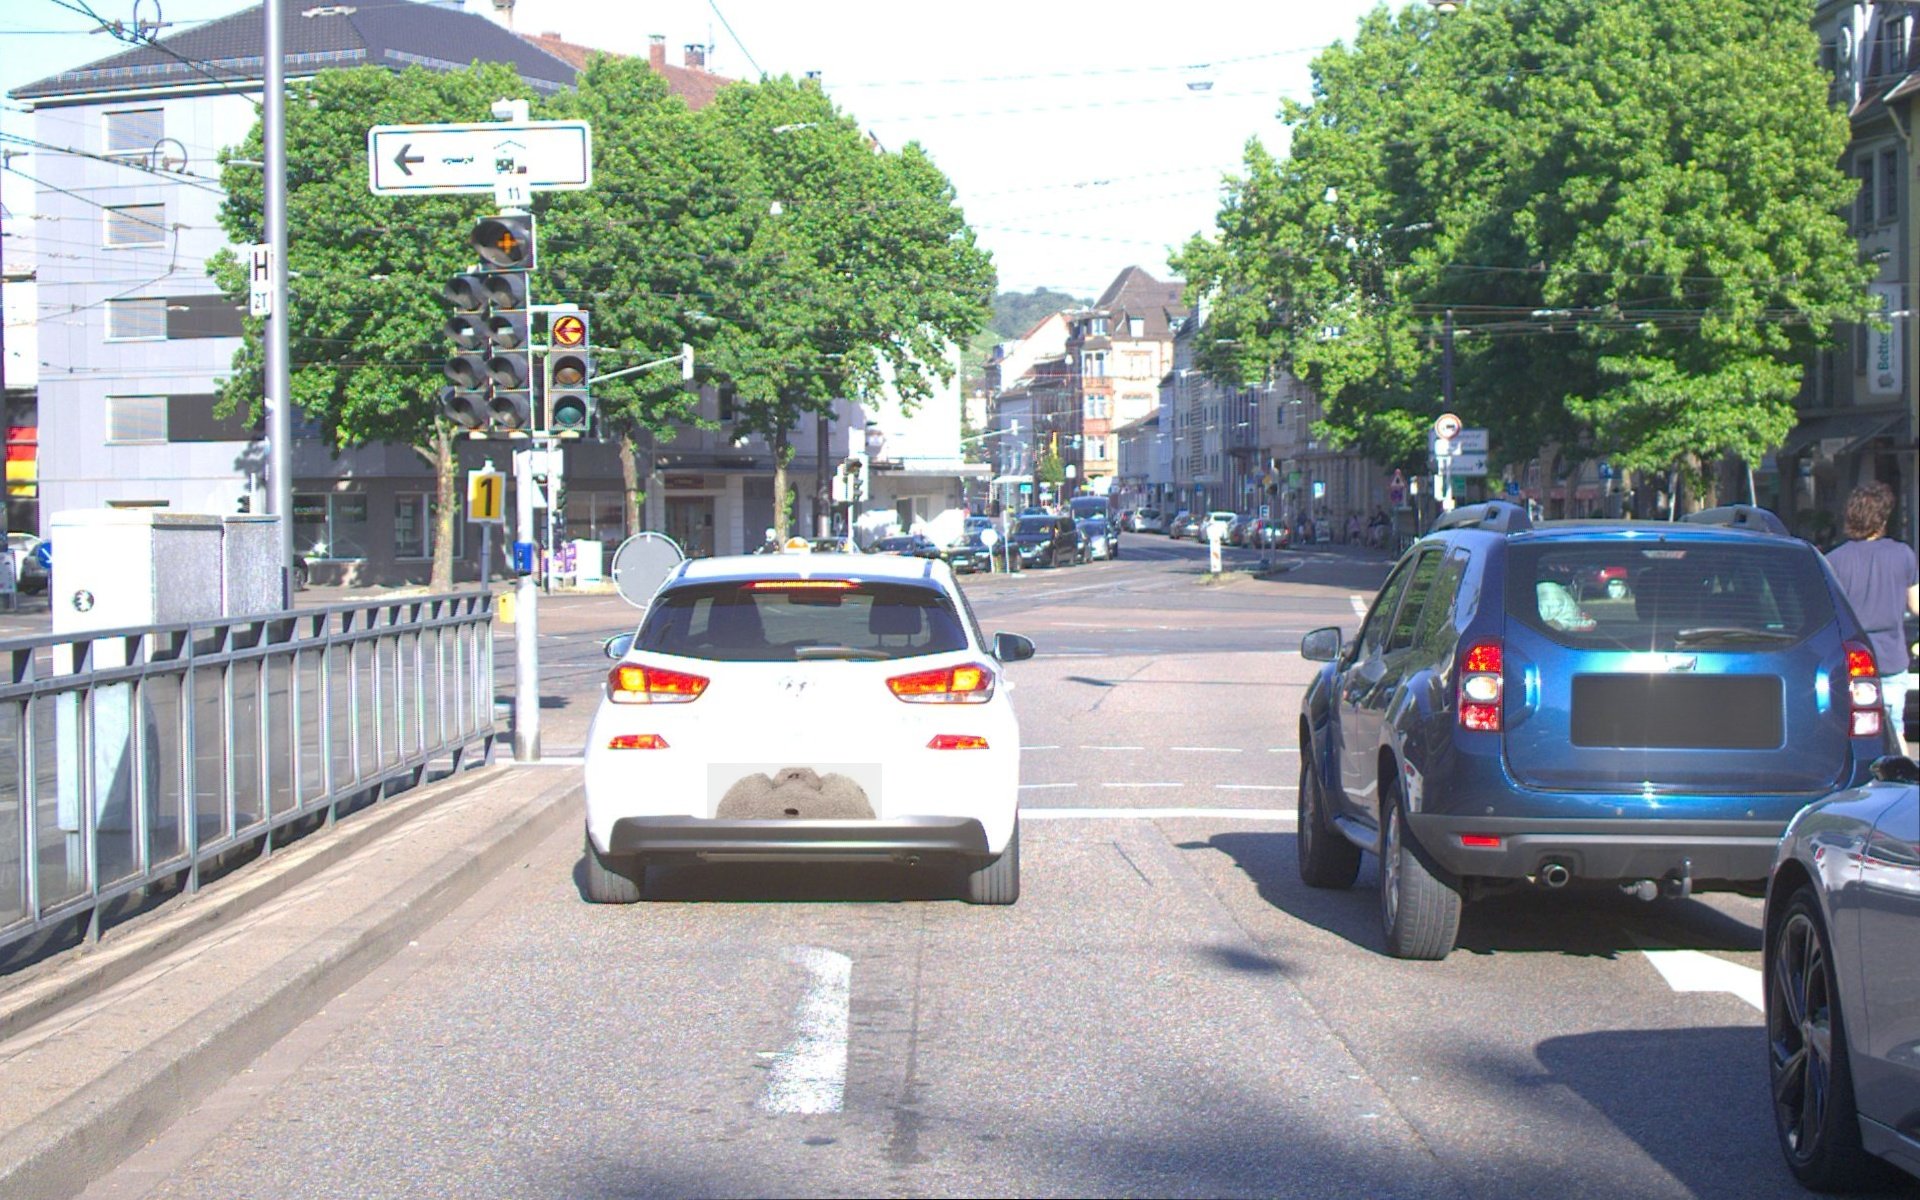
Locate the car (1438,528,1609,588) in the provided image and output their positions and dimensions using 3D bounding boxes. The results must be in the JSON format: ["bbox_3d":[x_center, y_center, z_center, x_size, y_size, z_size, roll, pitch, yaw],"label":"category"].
[{"bbox_3d":[14.389,-1.087,87.857,3.986,1.505,1.800,0,1,-6],"label":"car"}]

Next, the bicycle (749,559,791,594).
[{"bbox_3d":[-5.400,-0.676,97.781,0.468,0.953,1.765,0,1,23],"label":"bicycle"}]

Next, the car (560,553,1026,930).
[{"bbox_3d":[-0.689,0.526,15.430,1.808,1.447,4.000,1,1,-1],"label":"car"}]

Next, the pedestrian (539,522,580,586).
[{"bbox_3d":[-11.076,-1.284,95.192,0.837,1.765,0.781,0,1,25],"label":"pedestrian"}]

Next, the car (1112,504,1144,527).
[{"bbox_3d":[10.849,-5.456,222.214,1.794,1.505,4.000,0,1,-1],"label":"car"}]

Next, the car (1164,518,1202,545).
[{"bbox_3d":[12.418,-3.822,191.776,1.794,1.517,4.000,0,1,-1],"label":"car"}]

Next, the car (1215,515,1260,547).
[{"bbox_3d":[13.437,-3.329,166.380,1.794,1.505,4.000,0,1,-1],"label":"car"}]

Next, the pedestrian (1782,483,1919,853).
[{"bbox_3d":[4.645,0.338,17.688,0.657,1.864,0.678,0,1,-1],"label":"pedestrian"}]

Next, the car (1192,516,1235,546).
[{"bbox_3d":[12.693,-3.458,172.540,1.794,1.505,4.000,0,1,-1],"label":"car"}]

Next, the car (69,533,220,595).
[{"bbox_3d":[-22.265,-0.994,94.004,1.797,1.643,4.004,0,1,29],"label":"car"}]

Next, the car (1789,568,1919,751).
[{"bbox_3d":[8.301,0.466,29.237,1.802,1.434,4.040,2,1,22],"label":"car"}]

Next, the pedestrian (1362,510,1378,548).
[{"bbox_3d":[18.035,-3.138,151.223,0.648,1.645,0.650,1,0,10],"label":"pedestrian"}]

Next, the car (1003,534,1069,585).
[{"bbox_3d":[2.764,-1.472,123.627,1.795,1.820,3.999,0,1,10],"label":"car"}]

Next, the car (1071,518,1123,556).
[{"bbox_3d":[5.502,-2.530,138.229,1.794,1.505,4.000,0,1,-2],"label":"car"}]

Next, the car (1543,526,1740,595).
[{"bbox_3d":[15.359,-0.900,77.554,3.986,1.505,1.801,0,1,-9],"label":"car"}]

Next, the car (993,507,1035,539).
[{"bbox_3d":[2.527,-3.607,161.132,1.794,1.505,4.000,0,1,-2],"label":"car"}]

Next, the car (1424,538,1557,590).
[{"bbox_3d":[15.748,-1.076,102.009,3.989,1.505,1.799,-1,1,-42],"label":"car"}]

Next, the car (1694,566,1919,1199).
[{"bbox_3d":[2.877,0.695,6.406,1.929,1.467,4.855,0,1,-1],"label":"car"}]

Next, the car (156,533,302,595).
[{"bbox_3d":[-19.802,-0.998,93.296,1.923,1.643,4.176,0,1,20],"label":"car"}]

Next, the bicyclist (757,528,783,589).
[{"bbox_3d":[-5.400,-1.179,97.775,0.468,1.739,0.716,0,1,23],"label":"bicyclist"}]

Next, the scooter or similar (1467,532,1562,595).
[{"bbox_3d":[11.496,-0.764,71.359,1.949,1.276,0.552,1,1,41],"label":"scooter or similar"}]

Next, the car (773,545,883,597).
[{"bbox_3d":[-3.899,-0.870,102.150,1.726,1.505,3.871,0,0,24],"label":"car"}]

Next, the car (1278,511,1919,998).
[{"bbox_3d":[2.383,0.482,13.576,1.800,1.632,4.045,0,1,-1],"label":"car"}]

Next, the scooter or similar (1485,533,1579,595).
[{"bbox_3d":[11.956,-0.759,71.909,1.949,1.276,0.552,1,1,41],"label":"scooter or similar"}]

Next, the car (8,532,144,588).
[{"bbox_3d":[-24.650,-1.133,96.020,1.796,1.505,4.007,0,1,18],"label":"car"}]

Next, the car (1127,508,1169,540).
[{"bbox_3d":[11.856,-4.788,216.787,2.327,2.007,4.977,0,1,-1],"label":"car"}]

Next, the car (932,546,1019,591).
[{"bbox_3d":[0.551,-1.060,116.198,1.796,1.505,3.996,0,0,18],"label":"car"}]

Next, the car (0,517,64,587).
[{"bbox_3d":[-27.161,-1.355,96.919,1.796,1.949,3.997,0,1,18],"label":"car"}]

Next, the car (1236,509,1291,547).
[{"bbox_3d":[14.107,-3.345,159.849,2.105,1.770,4.342,0,1,-1],"label":"car"}]

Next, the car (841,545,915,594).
[{"bbox_3d":[-2.554,-0.957,108.141,1.794,1.505,3.999,0,0,6],"label":"car"}]

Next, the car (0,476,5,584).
[{"bbox_3d":[-30.304,-1.993,97.908,2.499,3.154,6.528,0,1,22],"label":"car"}]

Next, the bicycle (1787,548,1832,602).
[{"bbox_3d":[17.634,-0.523,71.420,0.609,1.104,1.800,0,1,4],"label":"bicycle"}]
